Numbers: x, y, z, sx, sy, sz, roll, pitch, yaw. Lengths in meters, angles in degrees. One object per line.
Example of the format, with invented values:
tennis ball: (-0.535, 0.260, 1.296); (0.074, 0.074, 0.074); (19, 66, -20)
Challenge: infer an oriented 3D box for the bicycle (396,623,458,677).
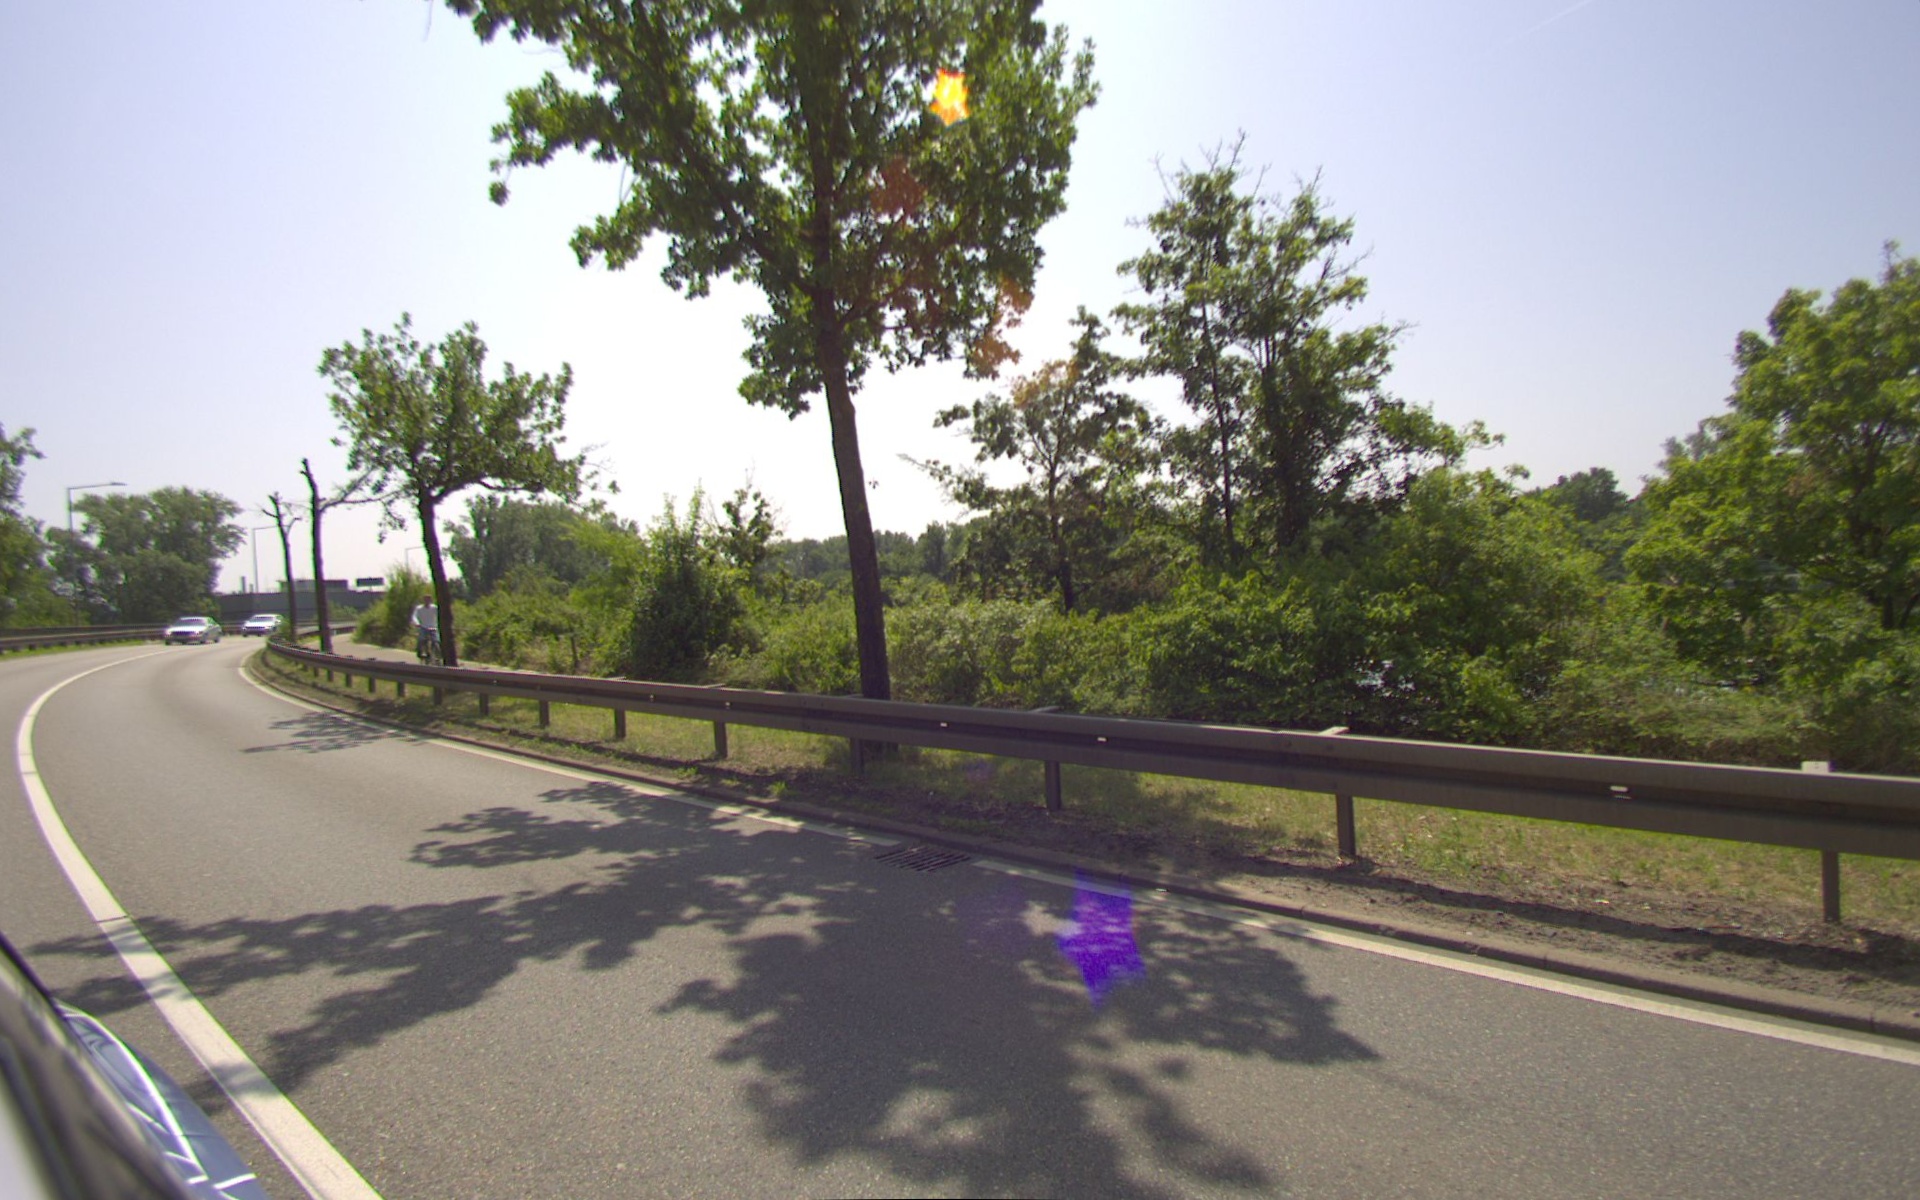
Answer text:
bicycle: (-11.836, 1.086, 22.440); (0.725, 1.125, 2.049); (2, -2, -42)

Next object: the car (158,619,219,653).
car: (-40.567, 1.859, 53.311); (1.734, 1.510, 4.247); (-1, 2, -26)

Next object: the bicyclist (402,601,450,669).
bicyclist: (-11.862, 0.770, 22.471); (0.720, 1.477, 0.825); (2, -2, -43)

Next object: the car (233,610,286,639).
car: (-46.682, 1.611, 67.518); (1.769, 1.796, 4.307); (-1, 0, -18)
